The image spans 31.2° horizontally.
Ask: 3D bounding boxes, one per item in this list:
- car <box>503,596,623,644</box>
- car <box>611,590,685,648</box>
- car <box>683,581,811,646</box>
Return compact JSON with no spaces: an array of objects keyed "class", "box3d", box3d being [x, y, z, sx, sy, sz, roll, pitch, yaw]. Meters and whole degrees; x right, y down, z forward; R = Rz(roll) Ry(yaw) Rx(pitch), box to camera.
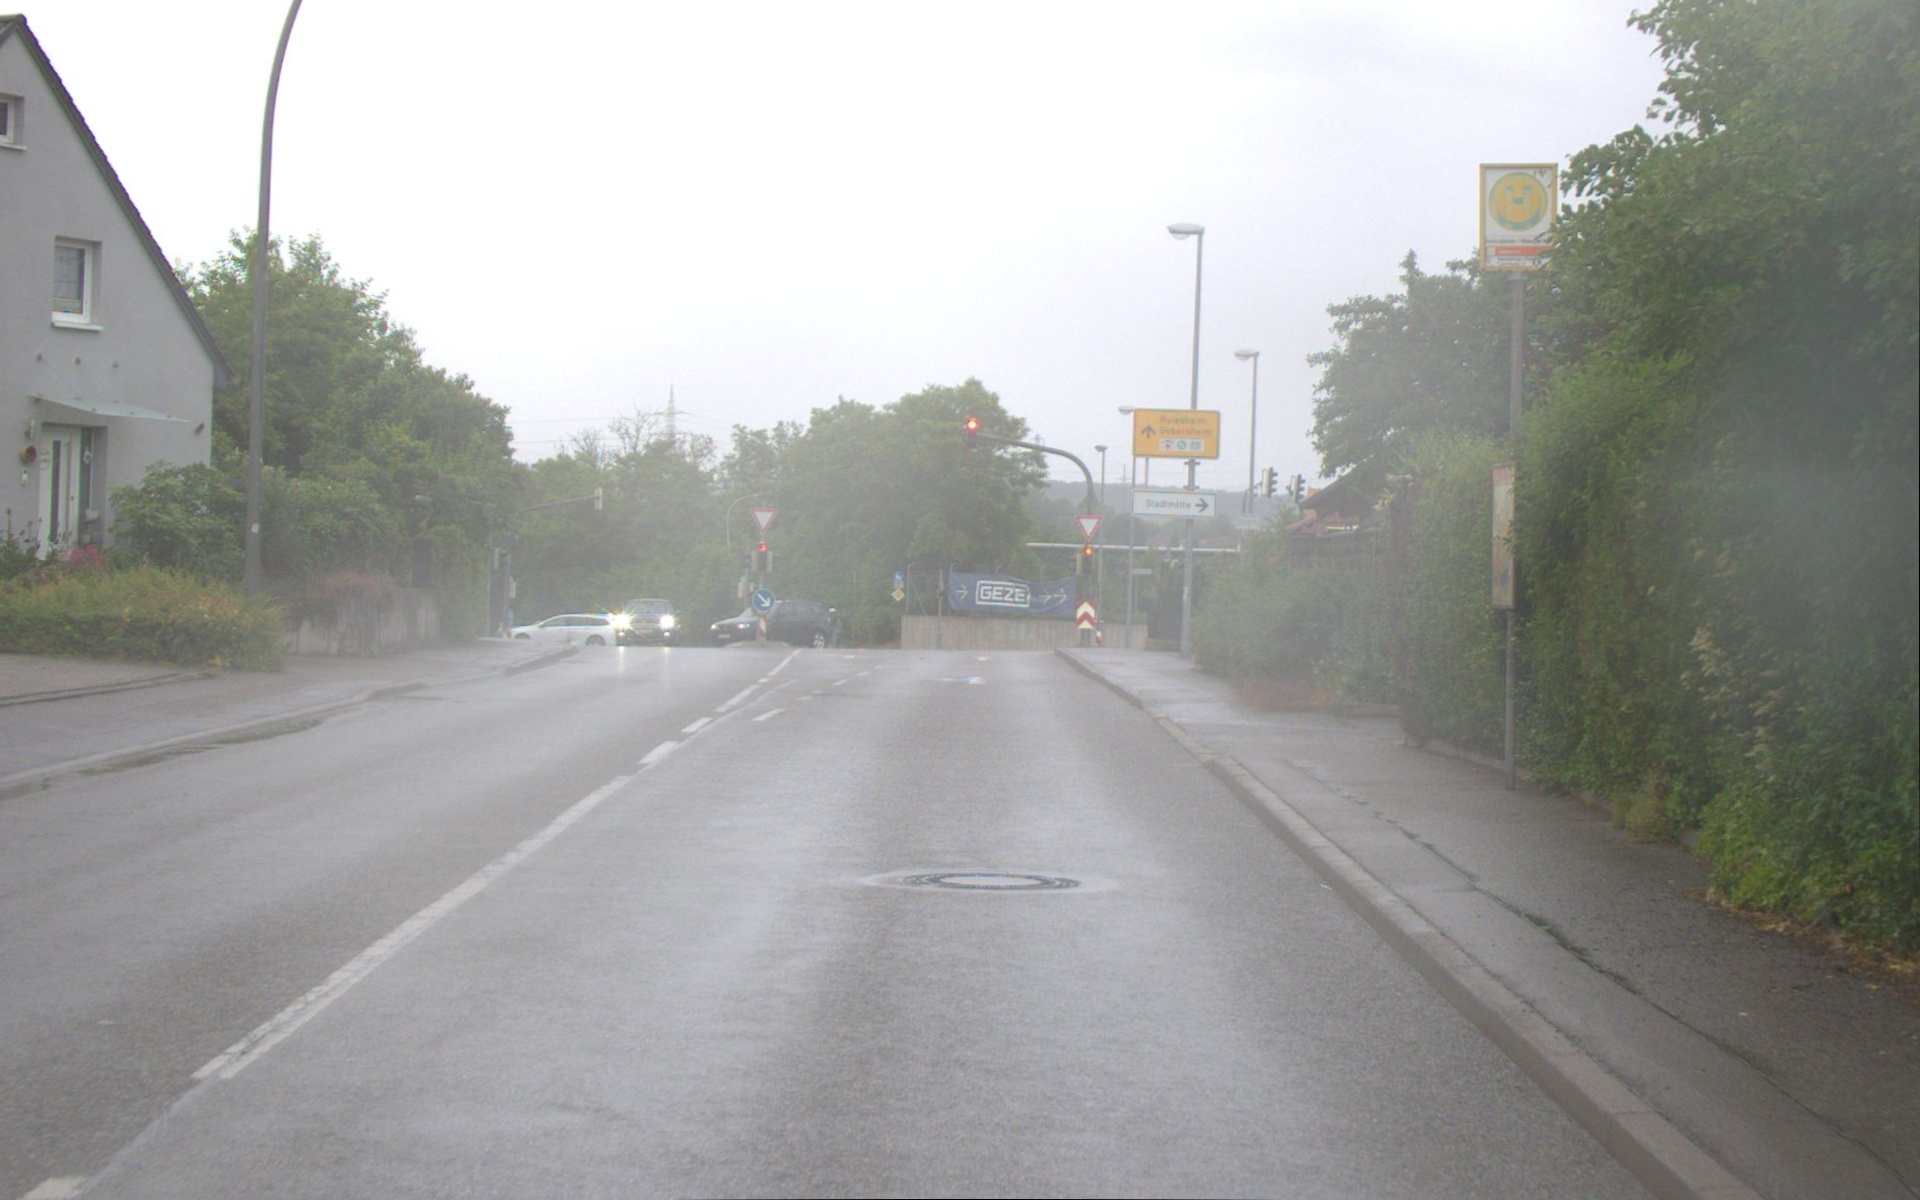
[{"class":"car","box3d":[-14.716,0.722,127.448,3.989,1.612,1.943,1,3,13]},{"class":"car","box3d":[-8.877,0.518,97.983,1.805,1.518,4.000,2,1,-1]},{"class":"car","box3d":[-6.812,0.446,110.367,1.776,2.007,3.990,2,1,40]}]
